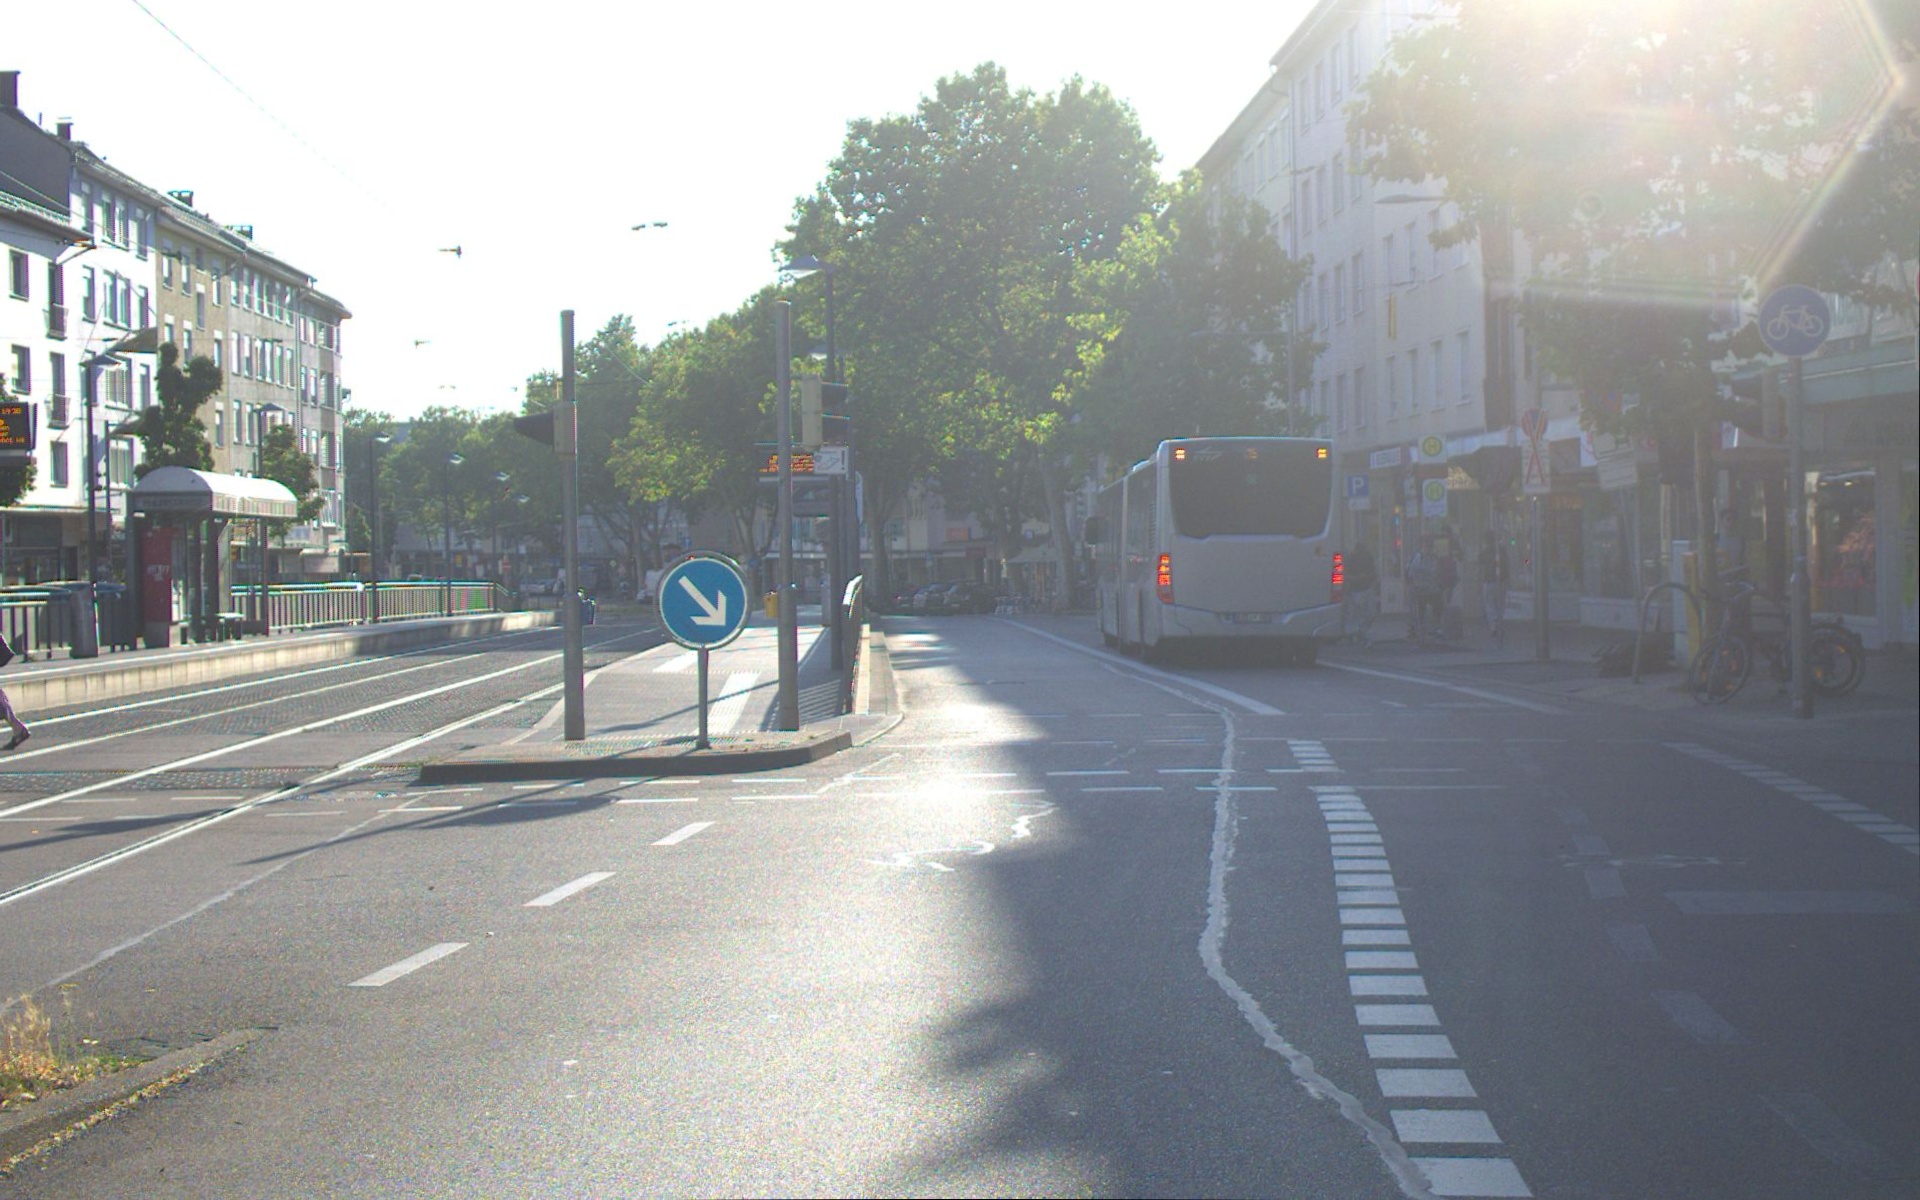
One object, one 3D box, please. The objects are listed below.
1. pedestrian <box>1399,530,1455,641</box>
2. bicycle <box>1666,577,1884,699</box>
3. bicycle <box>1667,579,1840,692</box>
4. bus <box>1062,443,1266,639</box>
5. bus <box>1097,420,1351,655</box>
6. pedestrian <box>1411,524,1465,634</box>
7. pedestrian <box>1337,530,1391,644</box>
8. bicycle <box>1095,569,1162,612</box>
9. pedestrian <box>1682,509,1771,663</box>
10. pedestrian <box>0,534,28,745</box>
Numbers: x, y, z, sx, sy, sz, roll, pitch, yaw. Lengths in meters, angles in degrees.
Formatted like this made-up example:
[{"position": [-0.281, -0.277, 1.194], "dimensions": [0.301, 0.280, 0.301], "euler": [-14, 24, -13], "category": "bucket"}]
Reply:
[{"position": [7.337, -0.231, 54.070], "dimensions": [0.723, 1.717, 0.766], "euler": [-1, 0, -1], "category": "pedestrian"}, {"position": [7.393, 0.340, 31.214], "dimensions": [1.798, 1.005, 0.541], "euler": [-3, 1, -4], "category": "bicycle"}, {"position": [7.350, 0.327, 31.861], "dimensions": [1.482, 1.005, 0.454], "euler": [-1, 1, -4], "category": "bicycle"}, {"position": [3.396, -0.994, 59.369], "dimensions": [2.696, 3.107, 9.071], "euler": [0, 1, -2], "category": "bus"}, {"position": [3.682, -0.887, 50.205], "dimensions": [2.696, 3.107, 9.382], "euler": [0, 1, -2], "category": "bus"}, {"position": [7.771, -0.344, 55.909], "dimensions": [0.723, 1.773, 0.766], "euler": [-1, 0, -1], "category": "pedestrian"}, {"position": [6.509, -0.209, 55.411], "dimensions": [0.723, 1.800, 0.766], "euler": [-1, 0, -1], "category": "pedestrian"}, {"position": [4.939, -0.280, 100.958], "dimensions": [1.887, 1.073, 0.754], "euler": [-5, 1, 2], "category": "bicycle"}, {"position": [9.071, -0.166, 40.695], "dimensions": [0.743, 1.774, 0.895], "euler": [-3, 0, -1], "category": "pedestrian"}, {"position": [-8.430, 0.335, 28.896], "dimensions": [0.919, 1.754, 0.832], "euler": [-1, 0, 1], "category": "pedestrian"}]
